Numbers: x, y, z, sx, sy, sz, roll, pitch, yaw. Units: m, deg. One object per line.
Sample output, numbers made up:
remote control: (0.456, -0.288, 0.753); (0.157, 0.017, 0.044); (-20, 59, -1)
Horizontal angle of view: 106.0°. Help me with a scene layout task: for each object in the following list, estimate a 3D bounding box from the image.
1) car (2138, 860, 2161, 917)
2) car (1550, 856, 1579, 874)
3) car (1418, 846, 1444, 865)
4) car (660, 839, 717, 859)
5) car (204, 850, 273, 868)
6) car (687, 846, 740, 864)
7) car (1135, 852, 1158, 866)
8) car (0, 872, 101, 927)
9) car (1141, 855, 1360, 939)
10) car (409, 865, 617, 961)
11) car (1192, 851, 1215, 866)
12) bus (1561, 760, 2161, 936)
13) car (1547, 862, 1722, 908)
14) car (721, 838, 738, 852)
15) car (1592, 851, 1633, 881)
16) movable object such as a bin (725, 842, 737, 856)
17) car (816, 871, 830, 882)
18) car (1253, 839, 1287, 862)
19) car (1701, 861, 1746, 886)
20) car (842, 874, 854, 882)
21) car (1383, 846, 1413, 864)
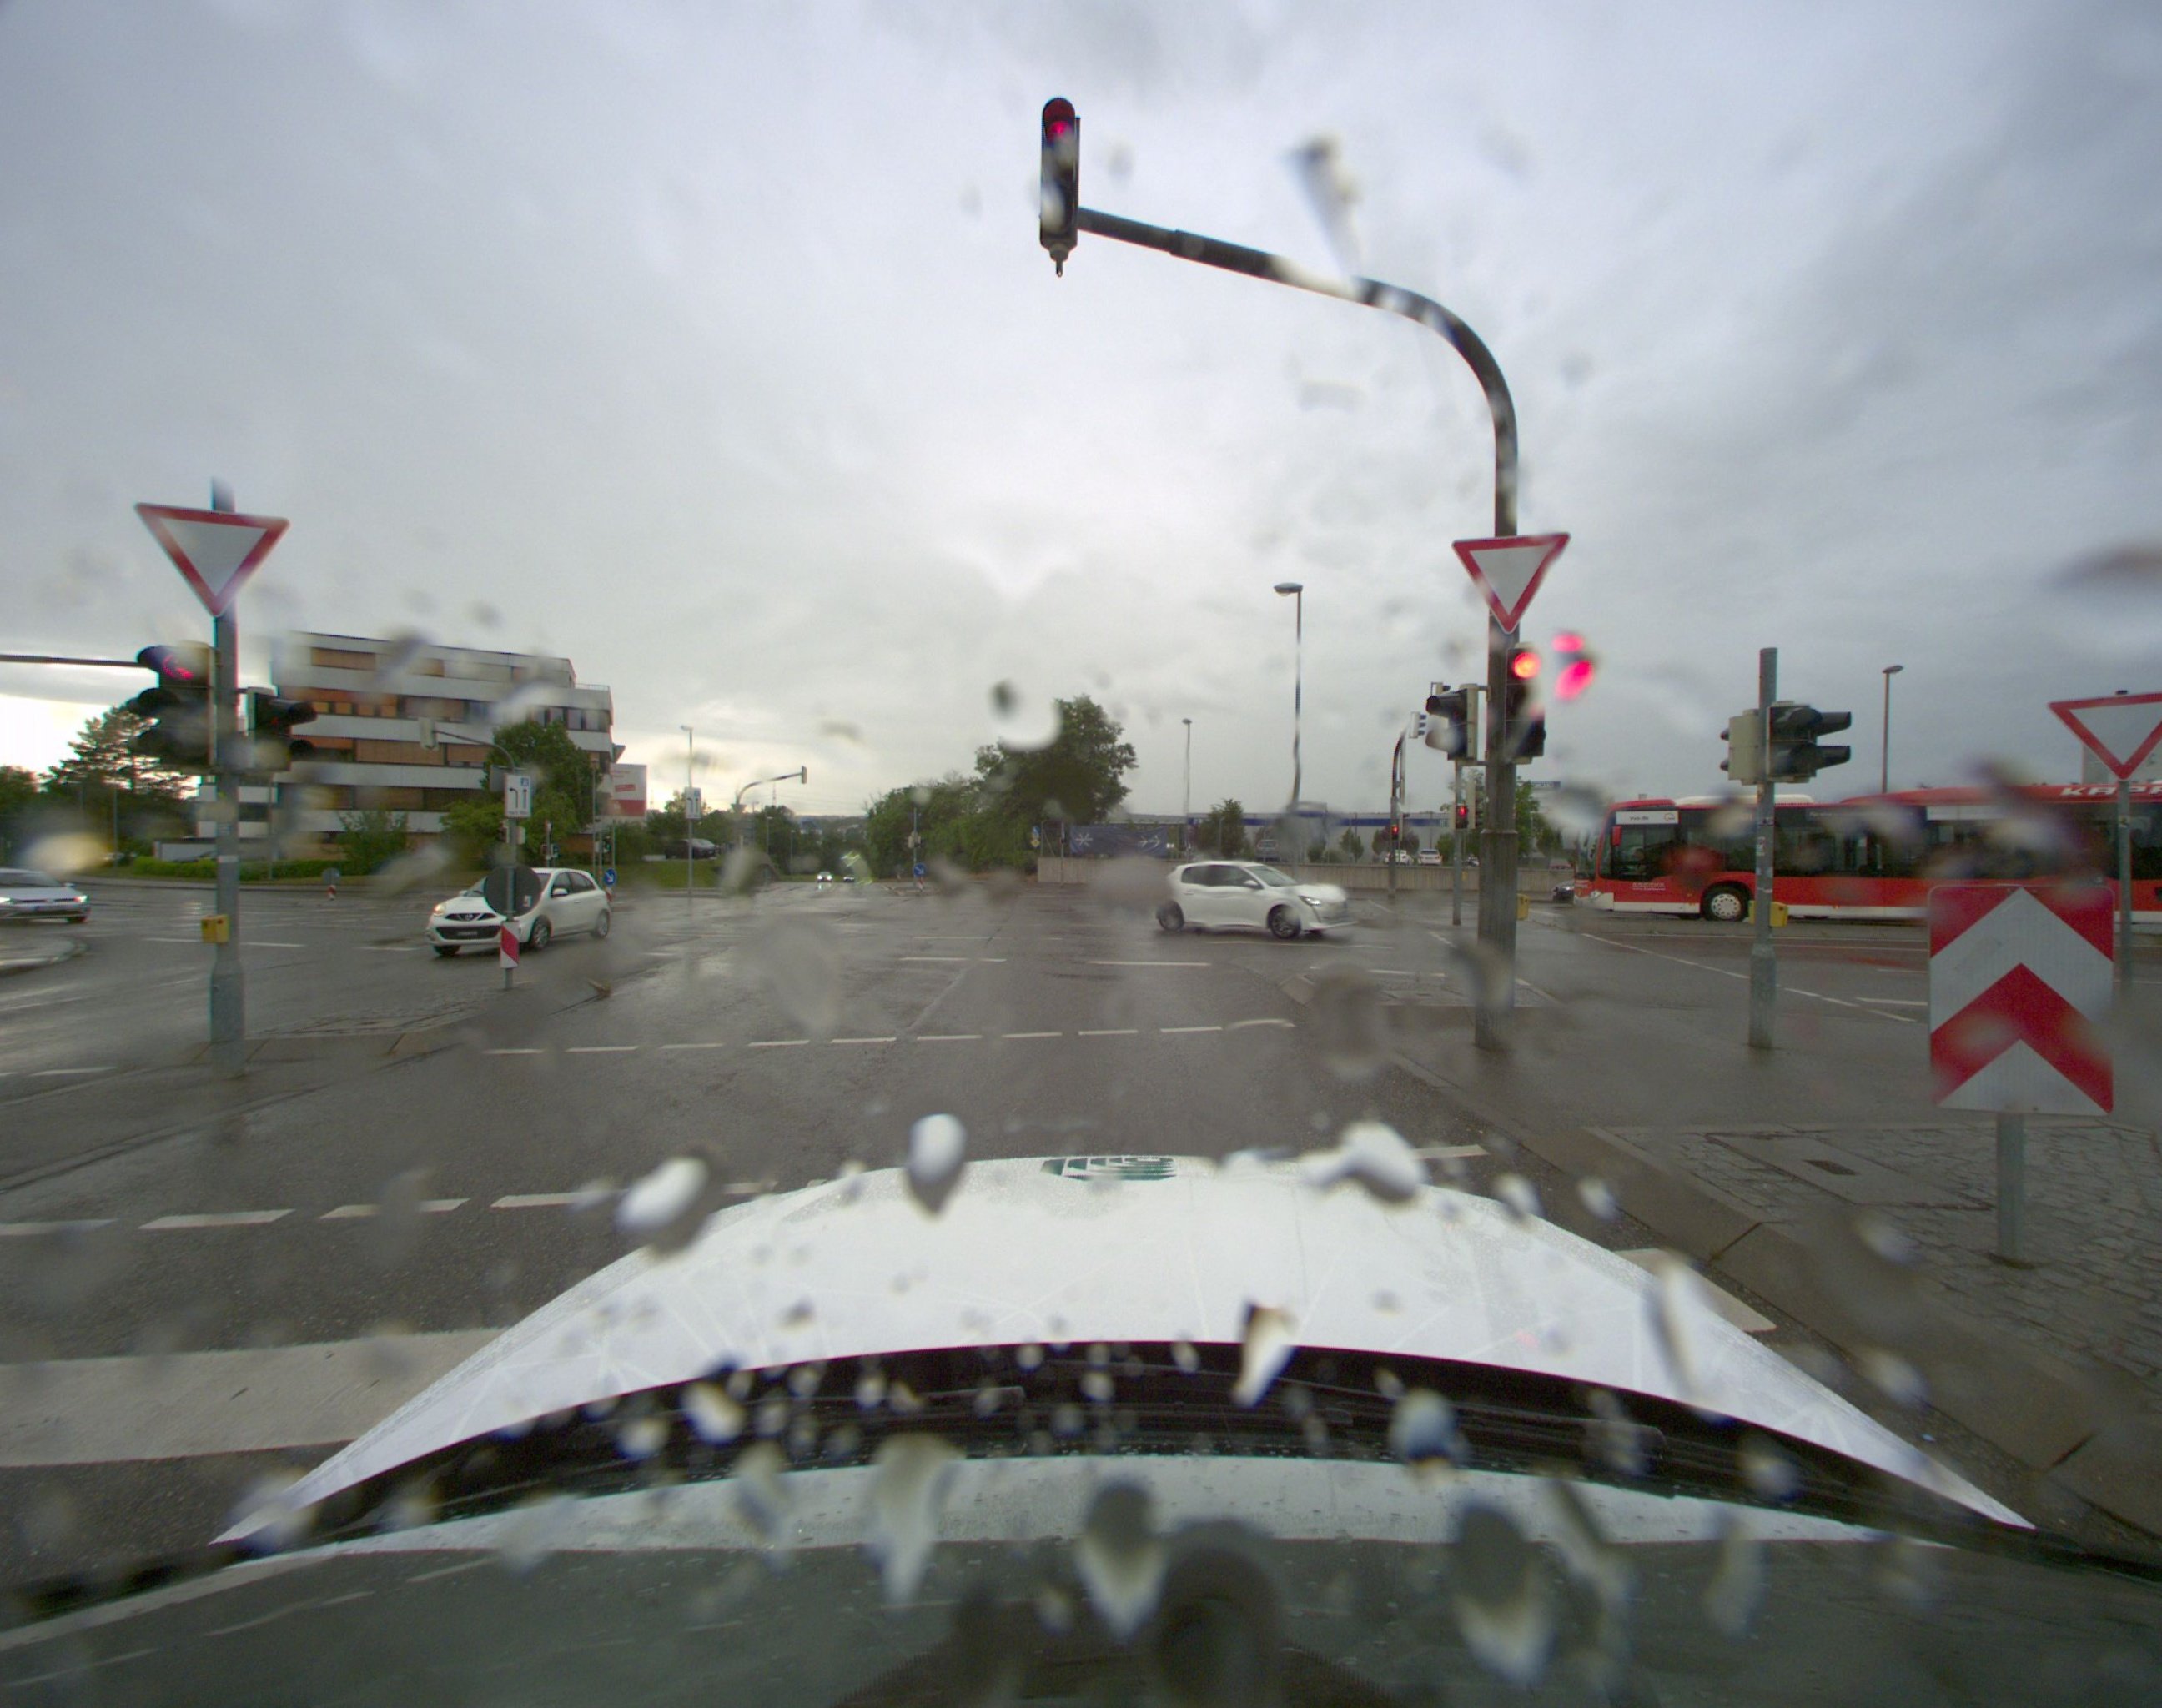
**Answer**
car: (31.673, 0.950, 21.505); (4.344, 1.538, 1.834); (0, 0, 18)
car: (43.122, 0.972, 72.742); (1.905, 1.589, 3.811); (0, 0, 25)
car: (28.889, 0.127, 67.213); (1.841, 1.526, 4.127); (-1, -1, 25)
car: (-33.439, -0.438, 69.363); (3.962, 1.586, 1.907); (0, -2, 10)
car: (-69.756, 0.409, 67.478); (3.779, 1.399, 1.977); (0, 0, -40)
car: (-32.463, 0.100, 71.973); (3.958, 1.586, 1.909); (0, -2, 14)
car: (7.753, 0.573, 95.918); (1.651, 1.606, 3.550); (-1, -1, 23)
car: (-28.736, 1.170, 21.814); (4.479, 1.363, 1.771); (-1, -1, 20)
car: (3.373, 0.791, 16.583); (3.929, 1.508, 1.883); (-1, -1, 39)
car: (-10.678, 1.018, 15.669); (1.619, 1.505, 3.813); (-2, 0, -7)
car: (13.937, 0.499, 92.465); (1.651, 1.606, 3.550); (-1, -1, 23)
bus: (18.602, -0.219, 19.186); (12.152, 3.576, 3.001); (2, 0, 19)
car: (17.622, 0.949, 26.171); (4.344, 1.354, 1.834); (0, 0, 18)
car: (-41.644, -1.060, 96.441); (1.836, 1.442, 3.967); (1, -2, -25)
car: (36.632, 0.798, 56.210); (1.727, 2.014, 3.844); (-1, -1, 23)
movable object such as a bin: (-37.773, -0.529, 87.898); (1.089, 1.437, 1.434); (1, -3, -25)
car: (-33.676, 2.915, 106.306); (1.667, 1.494, 3.973); (0, -1, -20)
car: (13.342, -0.247, 57.301); (1.727, 1.553, 3.550); (-1, -1, 23)
car: (52.937, 1.565, 67.148); (1.976, 2.014, 4.022); (-1, -1, 24)
car: (-43.107, 4.457, 150.706); (1.720, 1.494, 3.985); (0, -1, -11)
car: (26.461, 0.105, 67.903); (1.800, 1.434, 4.128); (-1, -1, 28)
